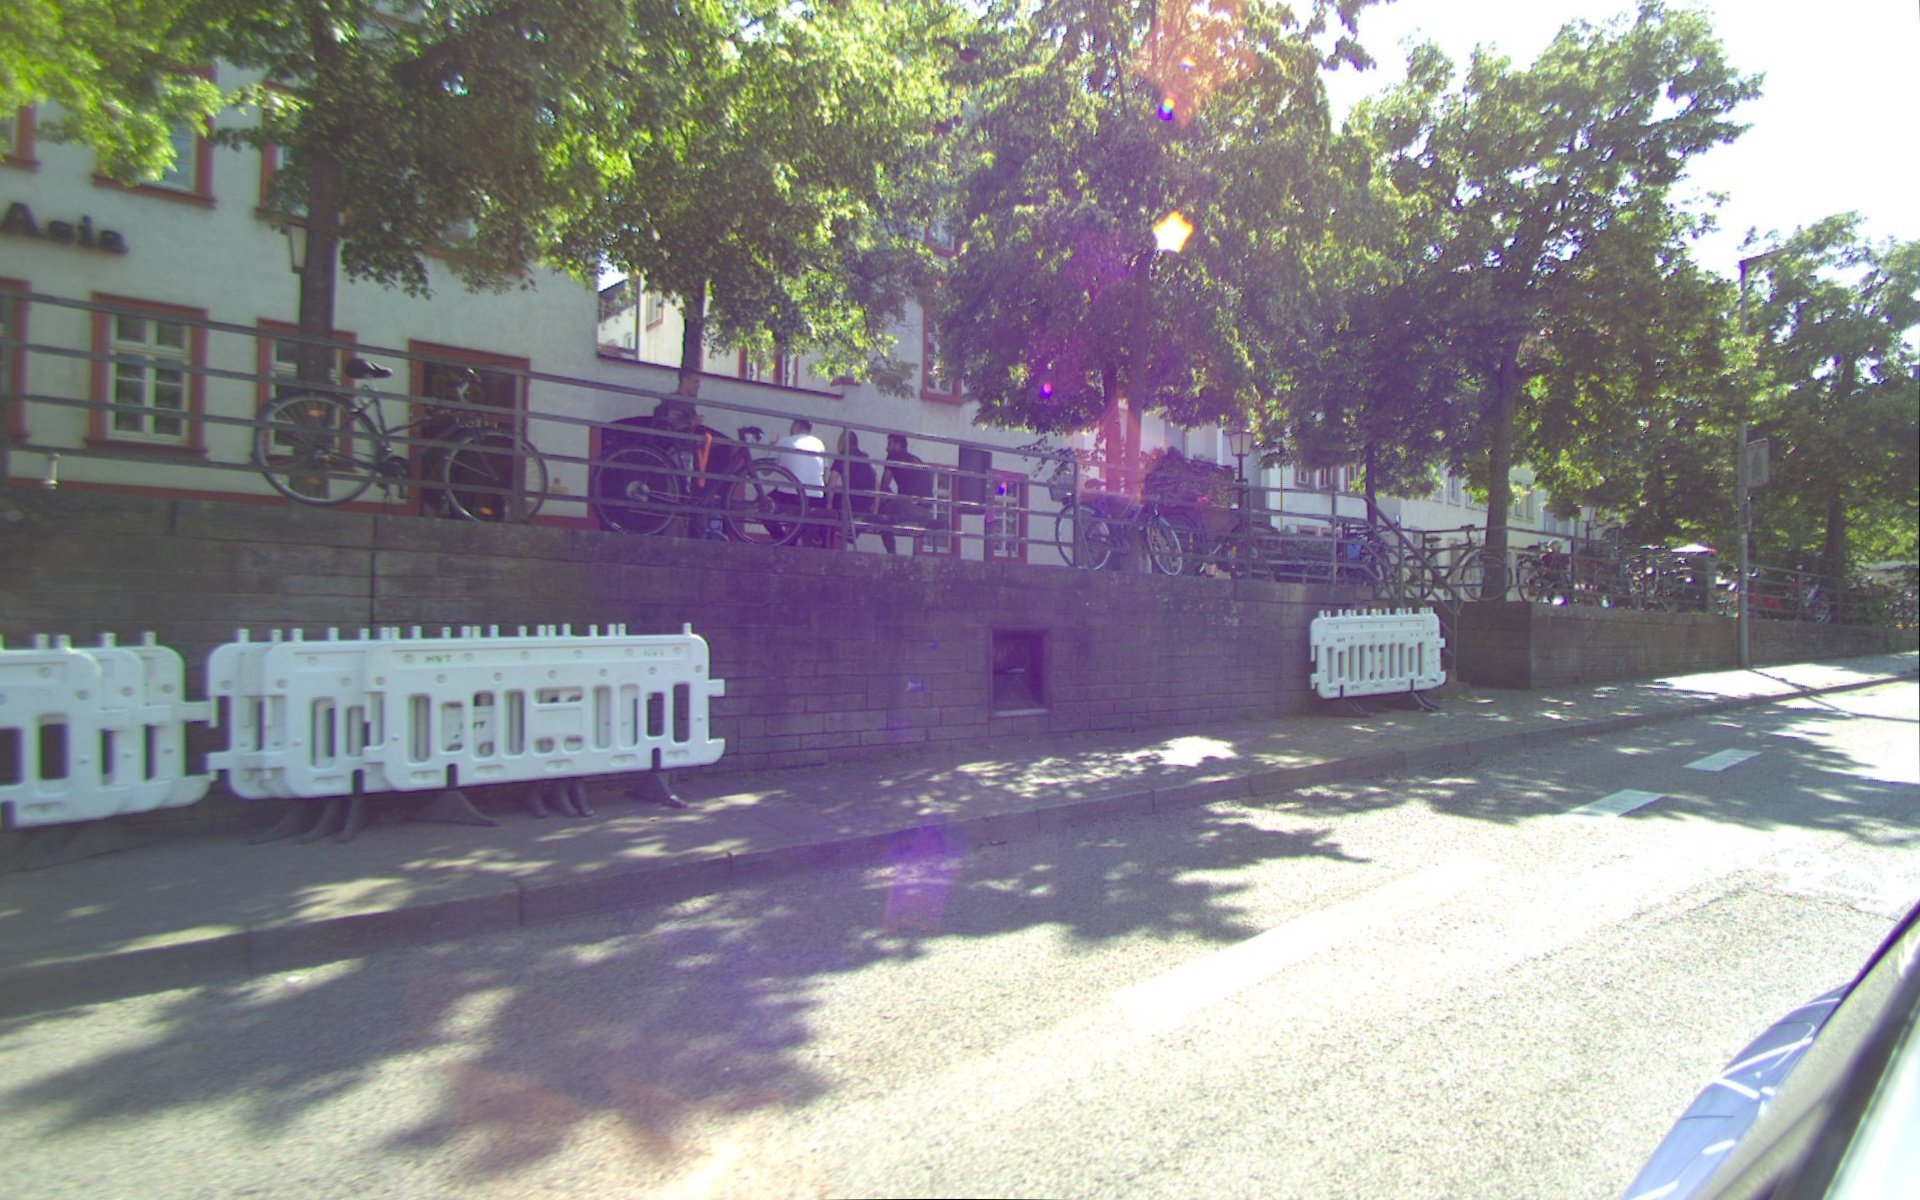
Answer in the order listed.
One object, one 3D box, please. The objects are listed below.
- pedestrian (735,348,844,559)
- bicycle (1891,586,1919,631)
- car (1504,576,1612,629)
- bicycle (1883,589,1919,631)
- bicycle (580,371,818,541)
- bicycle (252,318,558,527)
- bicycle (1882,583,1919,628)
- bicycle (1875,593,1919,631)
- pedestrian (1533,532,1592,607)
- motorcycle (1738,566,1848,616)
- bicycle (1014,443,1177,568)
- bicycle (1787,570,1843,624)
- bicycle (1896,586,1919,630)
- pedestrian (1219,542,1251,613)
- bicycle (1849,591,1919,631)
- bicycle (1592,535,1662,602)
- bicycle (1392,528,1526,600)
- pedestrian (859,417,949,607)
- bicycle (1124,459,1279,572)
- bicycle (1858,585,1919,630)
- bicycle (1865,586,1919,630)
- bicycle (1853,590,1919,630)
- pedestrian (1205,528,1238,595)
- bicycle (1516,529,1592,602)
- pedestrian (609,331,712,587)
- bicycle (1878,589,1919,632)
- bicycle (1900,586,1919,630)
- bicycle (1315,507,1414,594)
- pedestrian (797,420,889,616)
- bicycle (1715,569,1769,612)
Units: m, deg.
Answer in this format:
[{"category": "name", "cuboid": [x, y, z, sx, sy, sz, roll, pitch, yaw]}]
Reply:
[{"category": "pedestrian", "cuboid": [-1.528, -1.255, 9.030, 0.698, 1.742, 0.721, 1, 0, -35]}, {"category": "bicycle", "cuboid": [30.540, 0.294, 31.531, 0.467, 1.385, 2.163, 1, 2, -35]}, {"category": "car", "cuboid": [23.364, 0.114, 39.455, 4.645, 1.823, 1.838, 3, -1, -35]}, {"category": "bicycle", "cuboid": [30.074, 0.344, 31.290, 0.467, 1.277, 2.163, 1, 2, -35]}, {"category": "bicycle", "cuboid": [-1.961, -1.043, 7.711, 1.700, 1.119, 0.412, 1, 0, -31]}, {"category": "bicycle", "cuboid": [-3.578, -1.087, 6.642, 1.705, 1.119, 0.410, 0, 1, -43]}, {"category": "bicycle", "cuboid": [23.630, 0.142, 25.324, 2.120, 1.062, 0.302, 2, 1, -34]}, {"category": "bicycle", "cuboid": [29.270, 0.375, 30.834, 0.332, 1.105, 2.031, 1, 2, -35]}, {"category": "pedestrian", "cuboid": [10.516, -0.519, 17.666, 0.657, 1.281, 0.696, 1, 0, -39]}, {"category": "motorcycle", "cuboid": [19.463, -0.229, 23.689, 0.565, 1.112, 1.918, 0, 1, -42]}, {"category": "bicycle", "cuboid": [1.366, -0.900, 10.058, 1.700, 1.120, 0.412, 1, 0, -31]}, {"category": "bicycle", "cuboid": [18.403, -0.065, 21.770, 1.881, 1.126, 0.345, 0, 0, -31]}, {"category": "bicycle", "cuboid": [30.951, 0.295, 31.811, 0.467, 1.385, 2.163, 1, 2, -35]}, {"category": "pedestrian", "cuboid": [6.503, -0.518, 23.944, 0.492, 1.656, 0.542, 1, -2, -33]}, {"category": "bicycle", "cuboid": [27.677, 0.312, 29.956, 0.415, 1.114, 1.956, 1, 2, -35]}, {"category": "bicycle", "cuboid": [10.842, -0.490, 16.422, 1.905, 1.017, 0.299, 1, -1, -37]}, {"category": "bicycle", "cuboid": [7.423, -0.521, 15.147, 0.293, 1.017, 1.859, 2, 0, -37]}, {"category": "pedestrian", "cuboid": [-0.545, -0.816, 9.744, 0.562, 1.742, 0.721, 1, 0, -35]}, {"category": "bicycle", "cuboid": [2.671, -0.893, 11.090, 1.885, 1.120, 0.412, 0, 0, -31]}, {"category": "bicycle", "cuboid": [28.517, 0.226, 30.445, 0.467, 1.277, 2.163, 1, 2, -35]}, {"category": "bicycle", "cuboid": [28.923, 0.253, 30.657, 0.413, 1.277, 2.163, 1, 2, -35]}, {"category": "bicycle", "cuboid": [28.046, 0.309, 30.231, 0.467, 1.126, 1.969, 1, 2, -35]}, {"category": "pedestrian", "cuboid": [6.243, -0.899, 24.189, 0.596, 1.565, 0.469, 1, -2, -33]}, {"category": "bicycle", "cuboid": [9.029, -0.502, 15.358, 1.825, 1.017, 0.299, 1, -1, -37]}, {"category": "pedestrian", "cuboid": [-2.759, -1.233, 9.303, 0.698, 2.216, 0.721, 1, 0, -35]}, {"category": "bicycle", "cuboid": [29.652, 0.341, 31.028, 0.467, 1.277, 2.163, 1, 2, -35]}, {"category": "bicycle", "cuboid": [31.389, 0.298, 32.113, 0.573, 1.385, 2.163, 1, 2, -35]}, {"category": "bicycle", "cuboid": [5.899, -0.687, 14.704, 1.897, 1.155, 0.383, 1, -1, -37]}, {"category": "pedestrian", "cuboid": [-1.097, -0.735, 9.463, 0.562, 1.742, 0.721, 1, 0, -35]}, {"category": "bicycle", "cuboid": [15.024, -0.167, 19.433, 1.883, 0.794, 0.350, 1, 0, -38]}]
